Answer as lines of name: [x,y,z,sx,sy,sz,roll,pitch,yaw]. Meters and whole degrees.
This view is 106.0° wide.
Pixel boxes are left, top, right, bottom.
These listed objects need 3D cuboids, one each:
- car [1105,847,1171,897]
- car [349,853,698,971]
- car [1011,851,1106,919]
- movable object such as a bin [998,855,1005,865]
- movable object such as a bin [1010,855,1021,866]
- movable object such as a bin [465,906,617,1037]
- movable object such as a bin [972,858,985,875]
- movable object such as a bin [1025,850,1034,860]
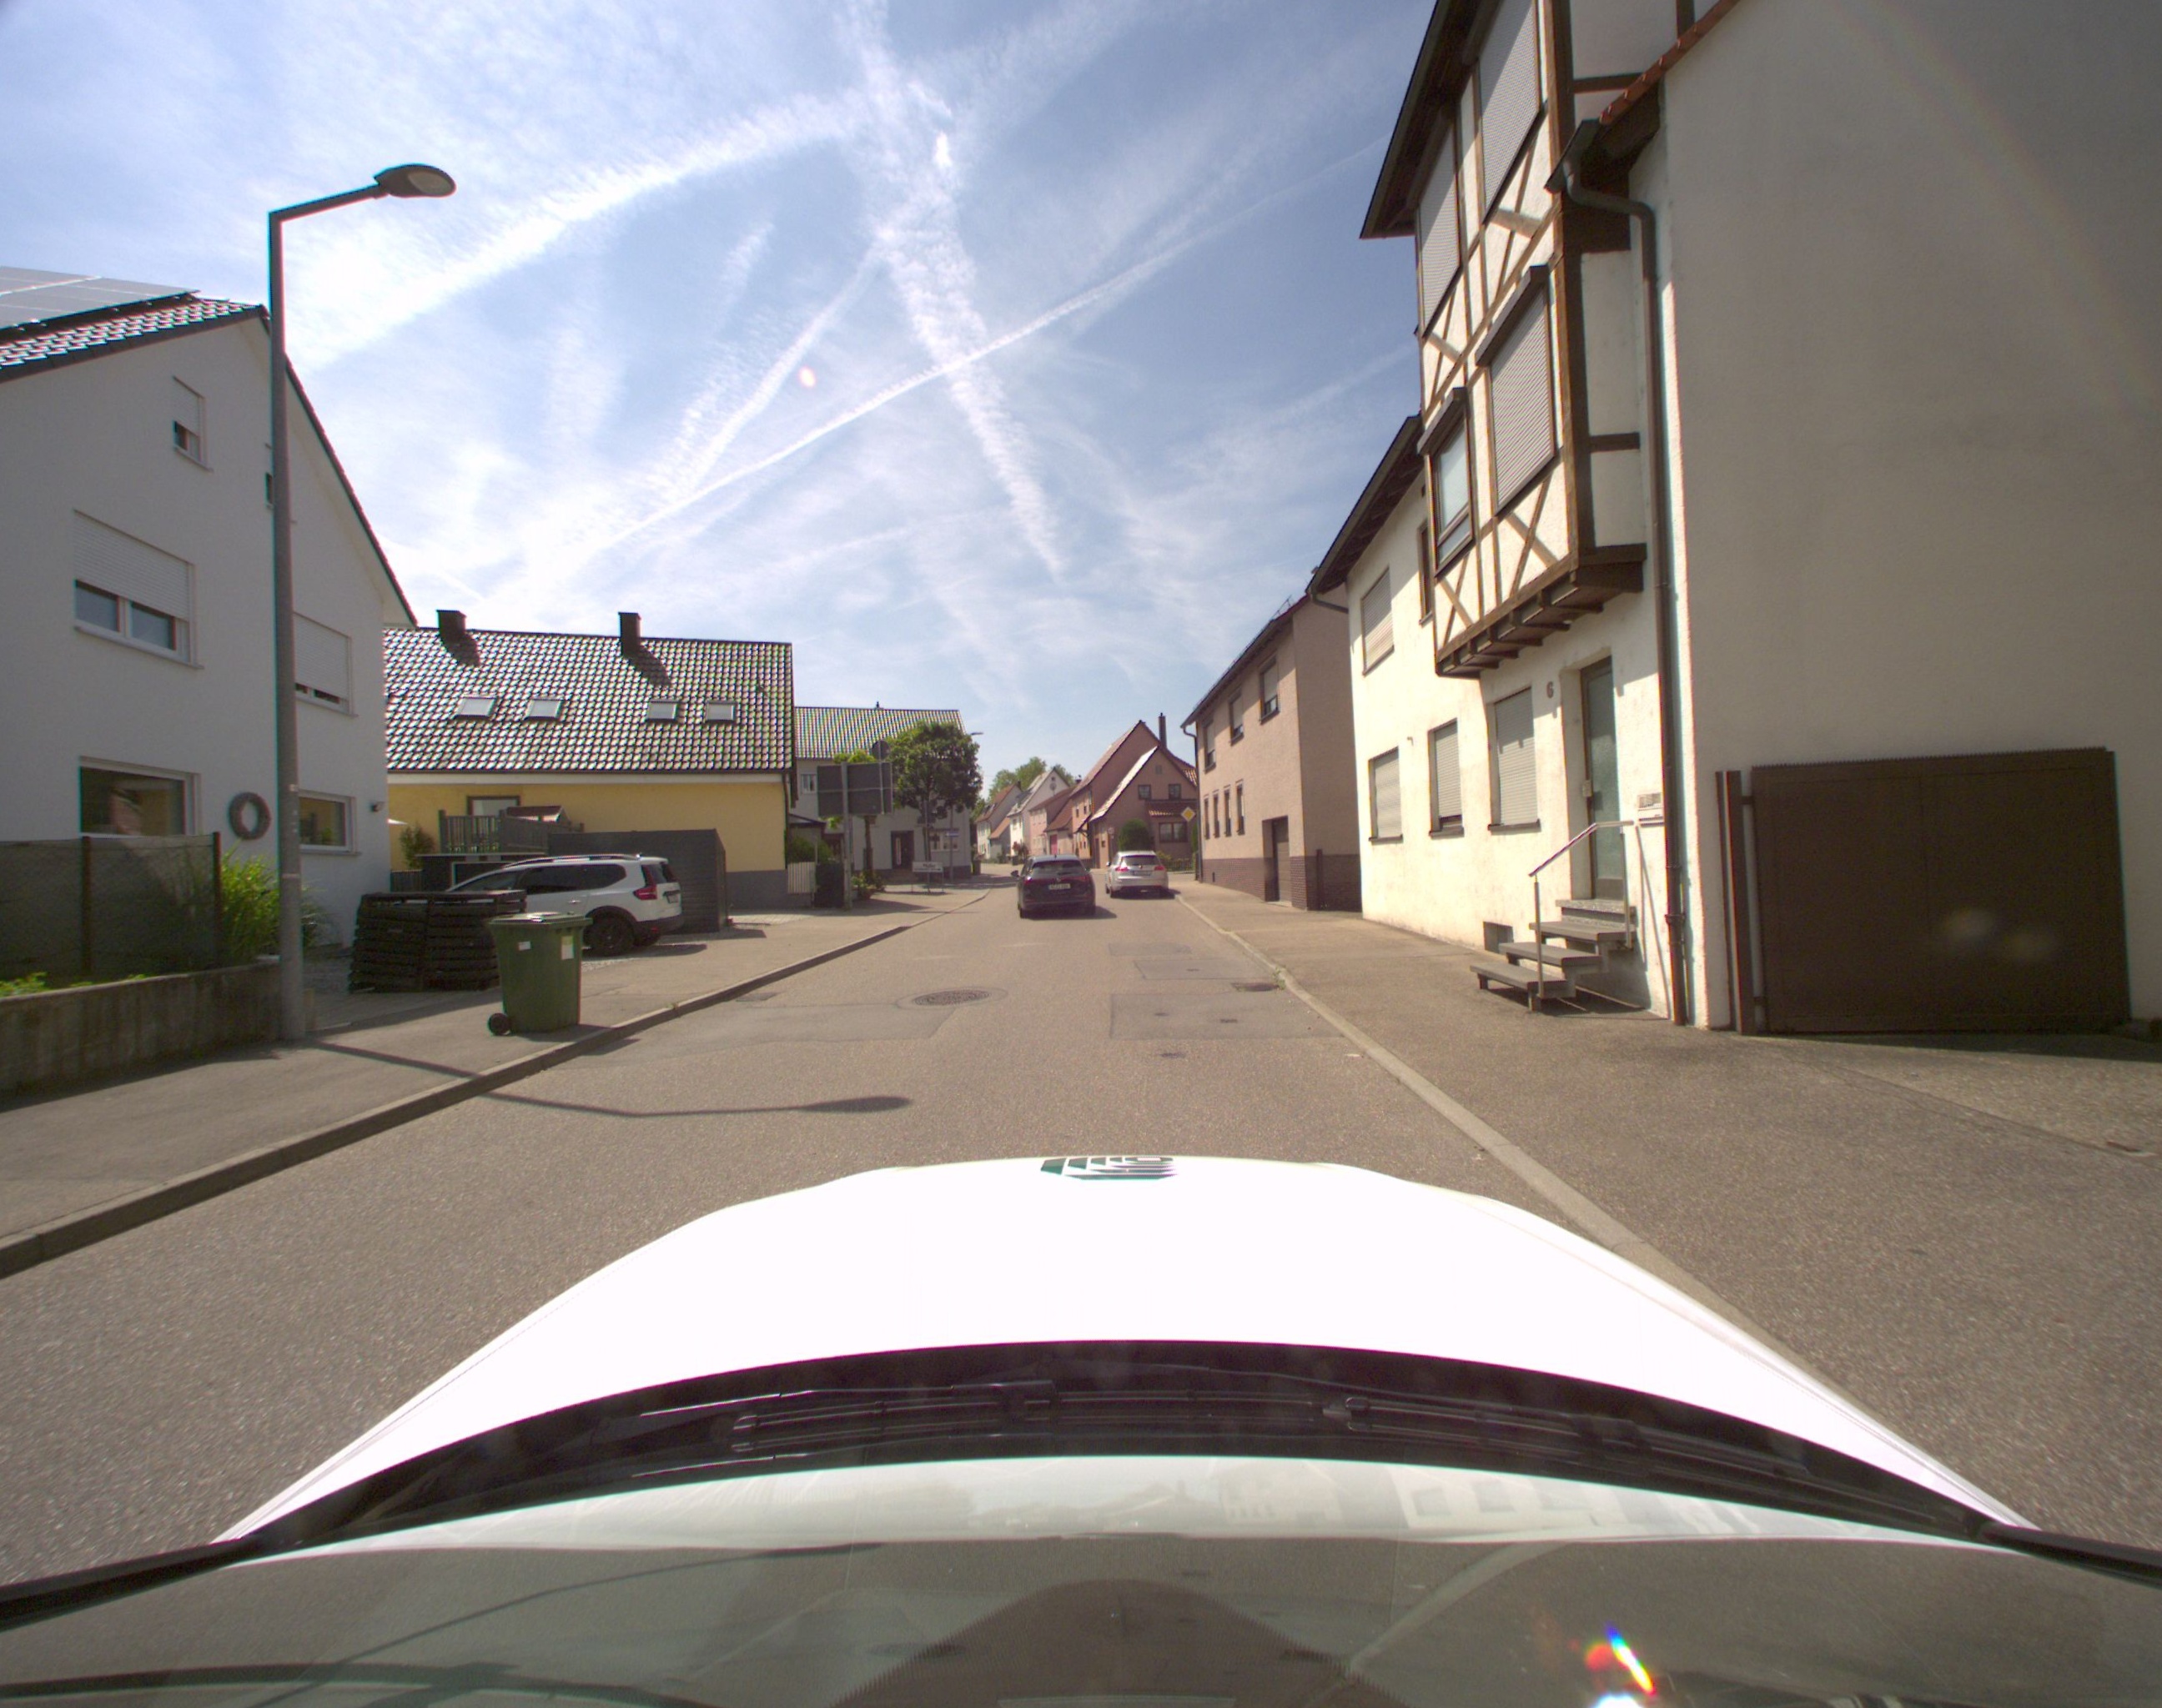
car: [1.785,0.523,26.694,1.780,1.442,4.336,-2,1,0]
car: [-9.246,0.901,13.939,4.402,1.622,1.993,-3,0,-10]
car: [-0.697,0.677,20.281,1.840,1.420,4.670,-2,1,-8]
movable object such as a bin: [-9.364,0.655,95.769,0.680,1.155,0.814,-2,0,-21]
movable object such as a bin: [-6.980,0.712,86.817,0.879,1.074,0.866,-7,2,-21]
movable object such as a bin: [-5.043,1.073,7.666,0.822,1.077,0.819,-2,1,3]
movable object such as a bin: [-6.771,0.813,53.800,0.754,1.060,0.677,-2,1,-10]
movable object such as a bin: [-5.426,0.122,86.161,0.681,1.050,0.829,-7,2,-21]
